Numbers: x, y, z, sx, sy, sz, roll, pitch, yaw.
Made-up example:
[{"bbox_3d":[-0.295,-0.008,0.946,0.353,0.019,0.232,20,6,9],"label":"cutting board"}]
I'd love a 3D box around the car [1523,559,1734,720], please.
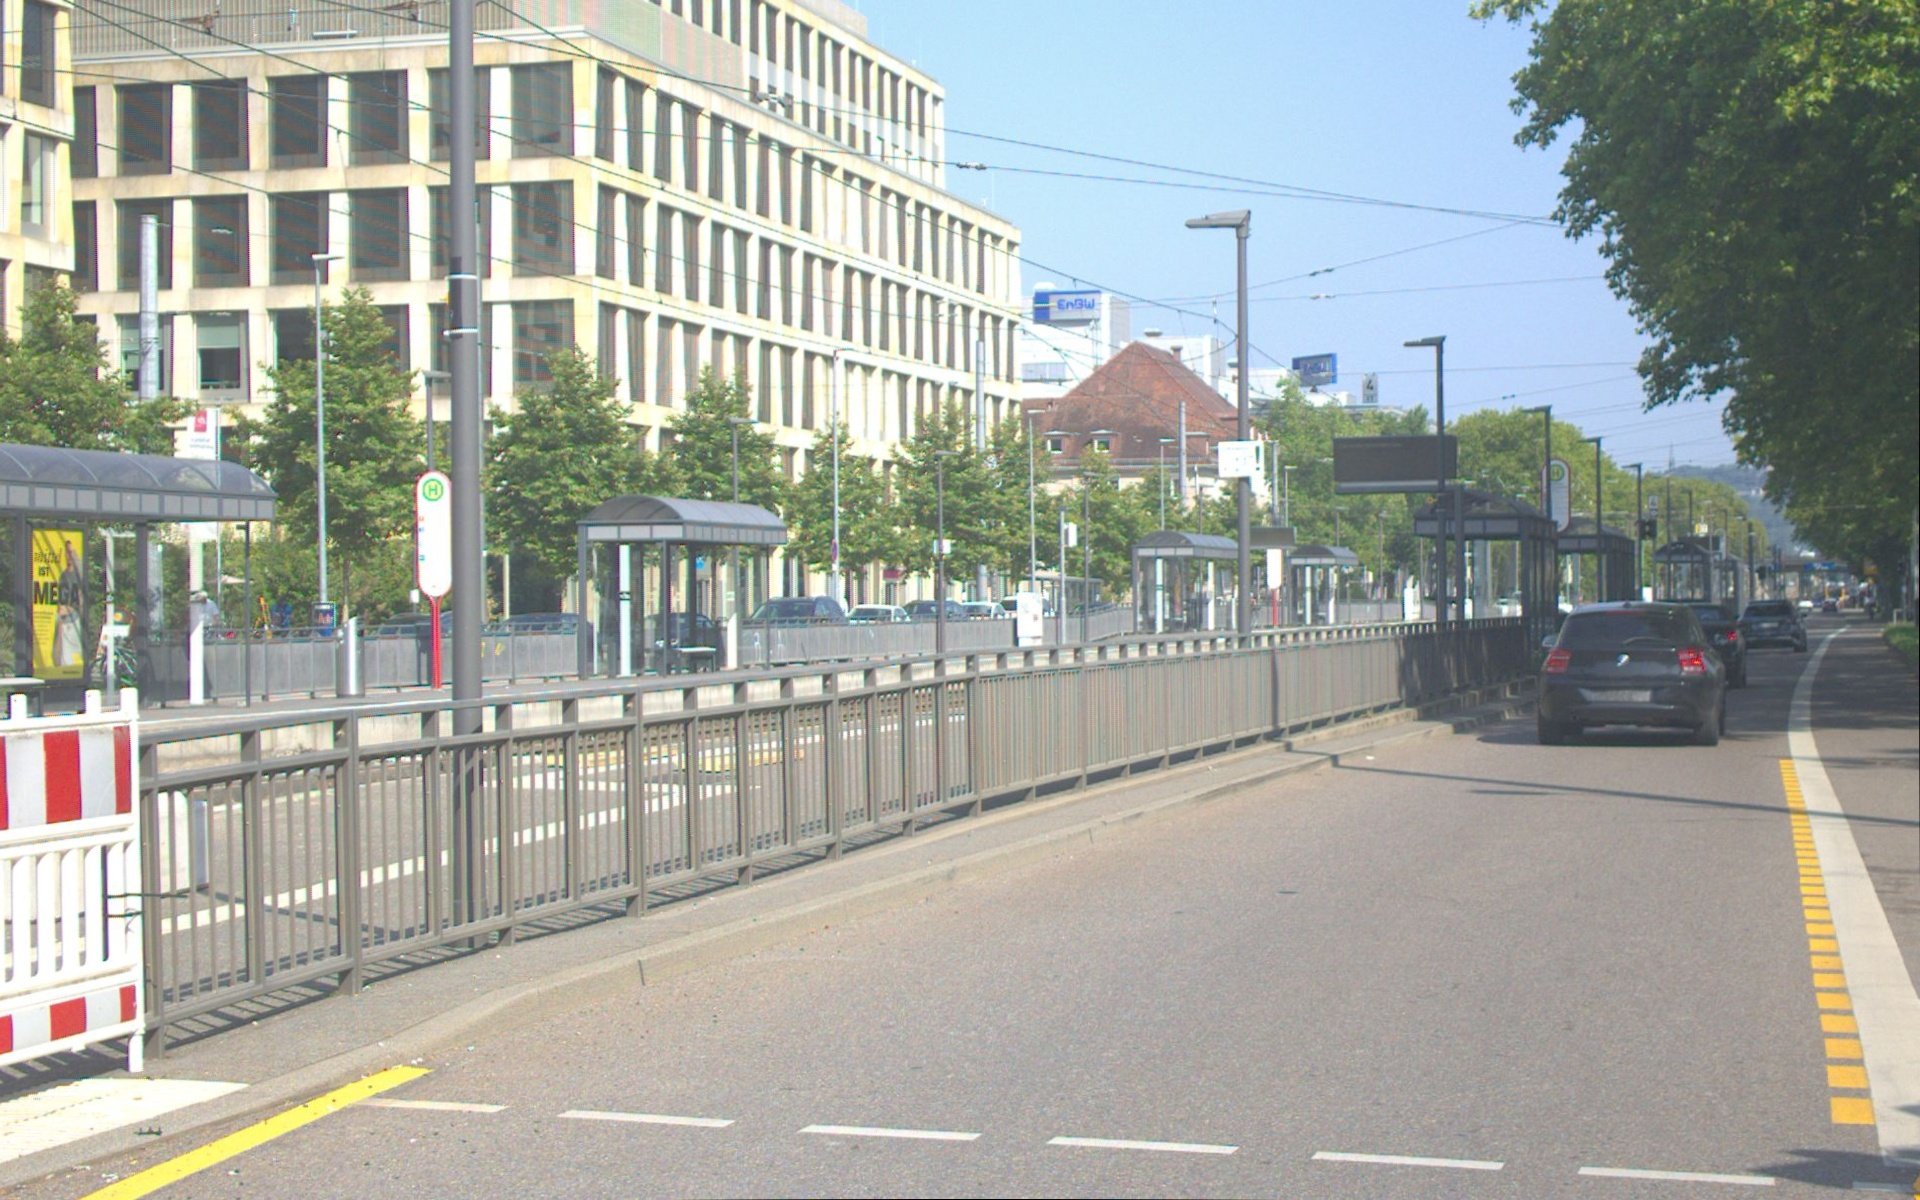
[{"bbox_3d":[6.936,0.374,35.402,1.908,1.532,3.997,1,0,14],"label":"car"}]

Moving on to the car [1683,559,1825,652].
[{"bbox_3d":[12.926,0.074,55.849,1.995,1.436,3.997,0,0,17],"label":"car"}]

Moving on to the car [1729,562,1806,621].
[{"bbox_3d":[21.440,-0.236,91.180,1.908,1.532,3.997,0,0,14],"label":"car"}]

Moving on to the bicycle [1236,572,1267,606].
[{"bbox_3d":[9.916,-0.376,116.874,0.472,1.143,1.481,0,0,29],"label":"bicycle"}]

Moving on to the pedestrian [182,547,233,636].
[{"bbox_3d":[-16.818,-0.184,76.842,0.793,1.911,0.838,-3,-2,9],"label":"pedestrian"}]

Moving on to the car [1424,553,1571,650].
[{"bbox_3d":[9.014,0.013,57.422,1.995,1.554,3.997,0,0,15],"label":"car"}]
